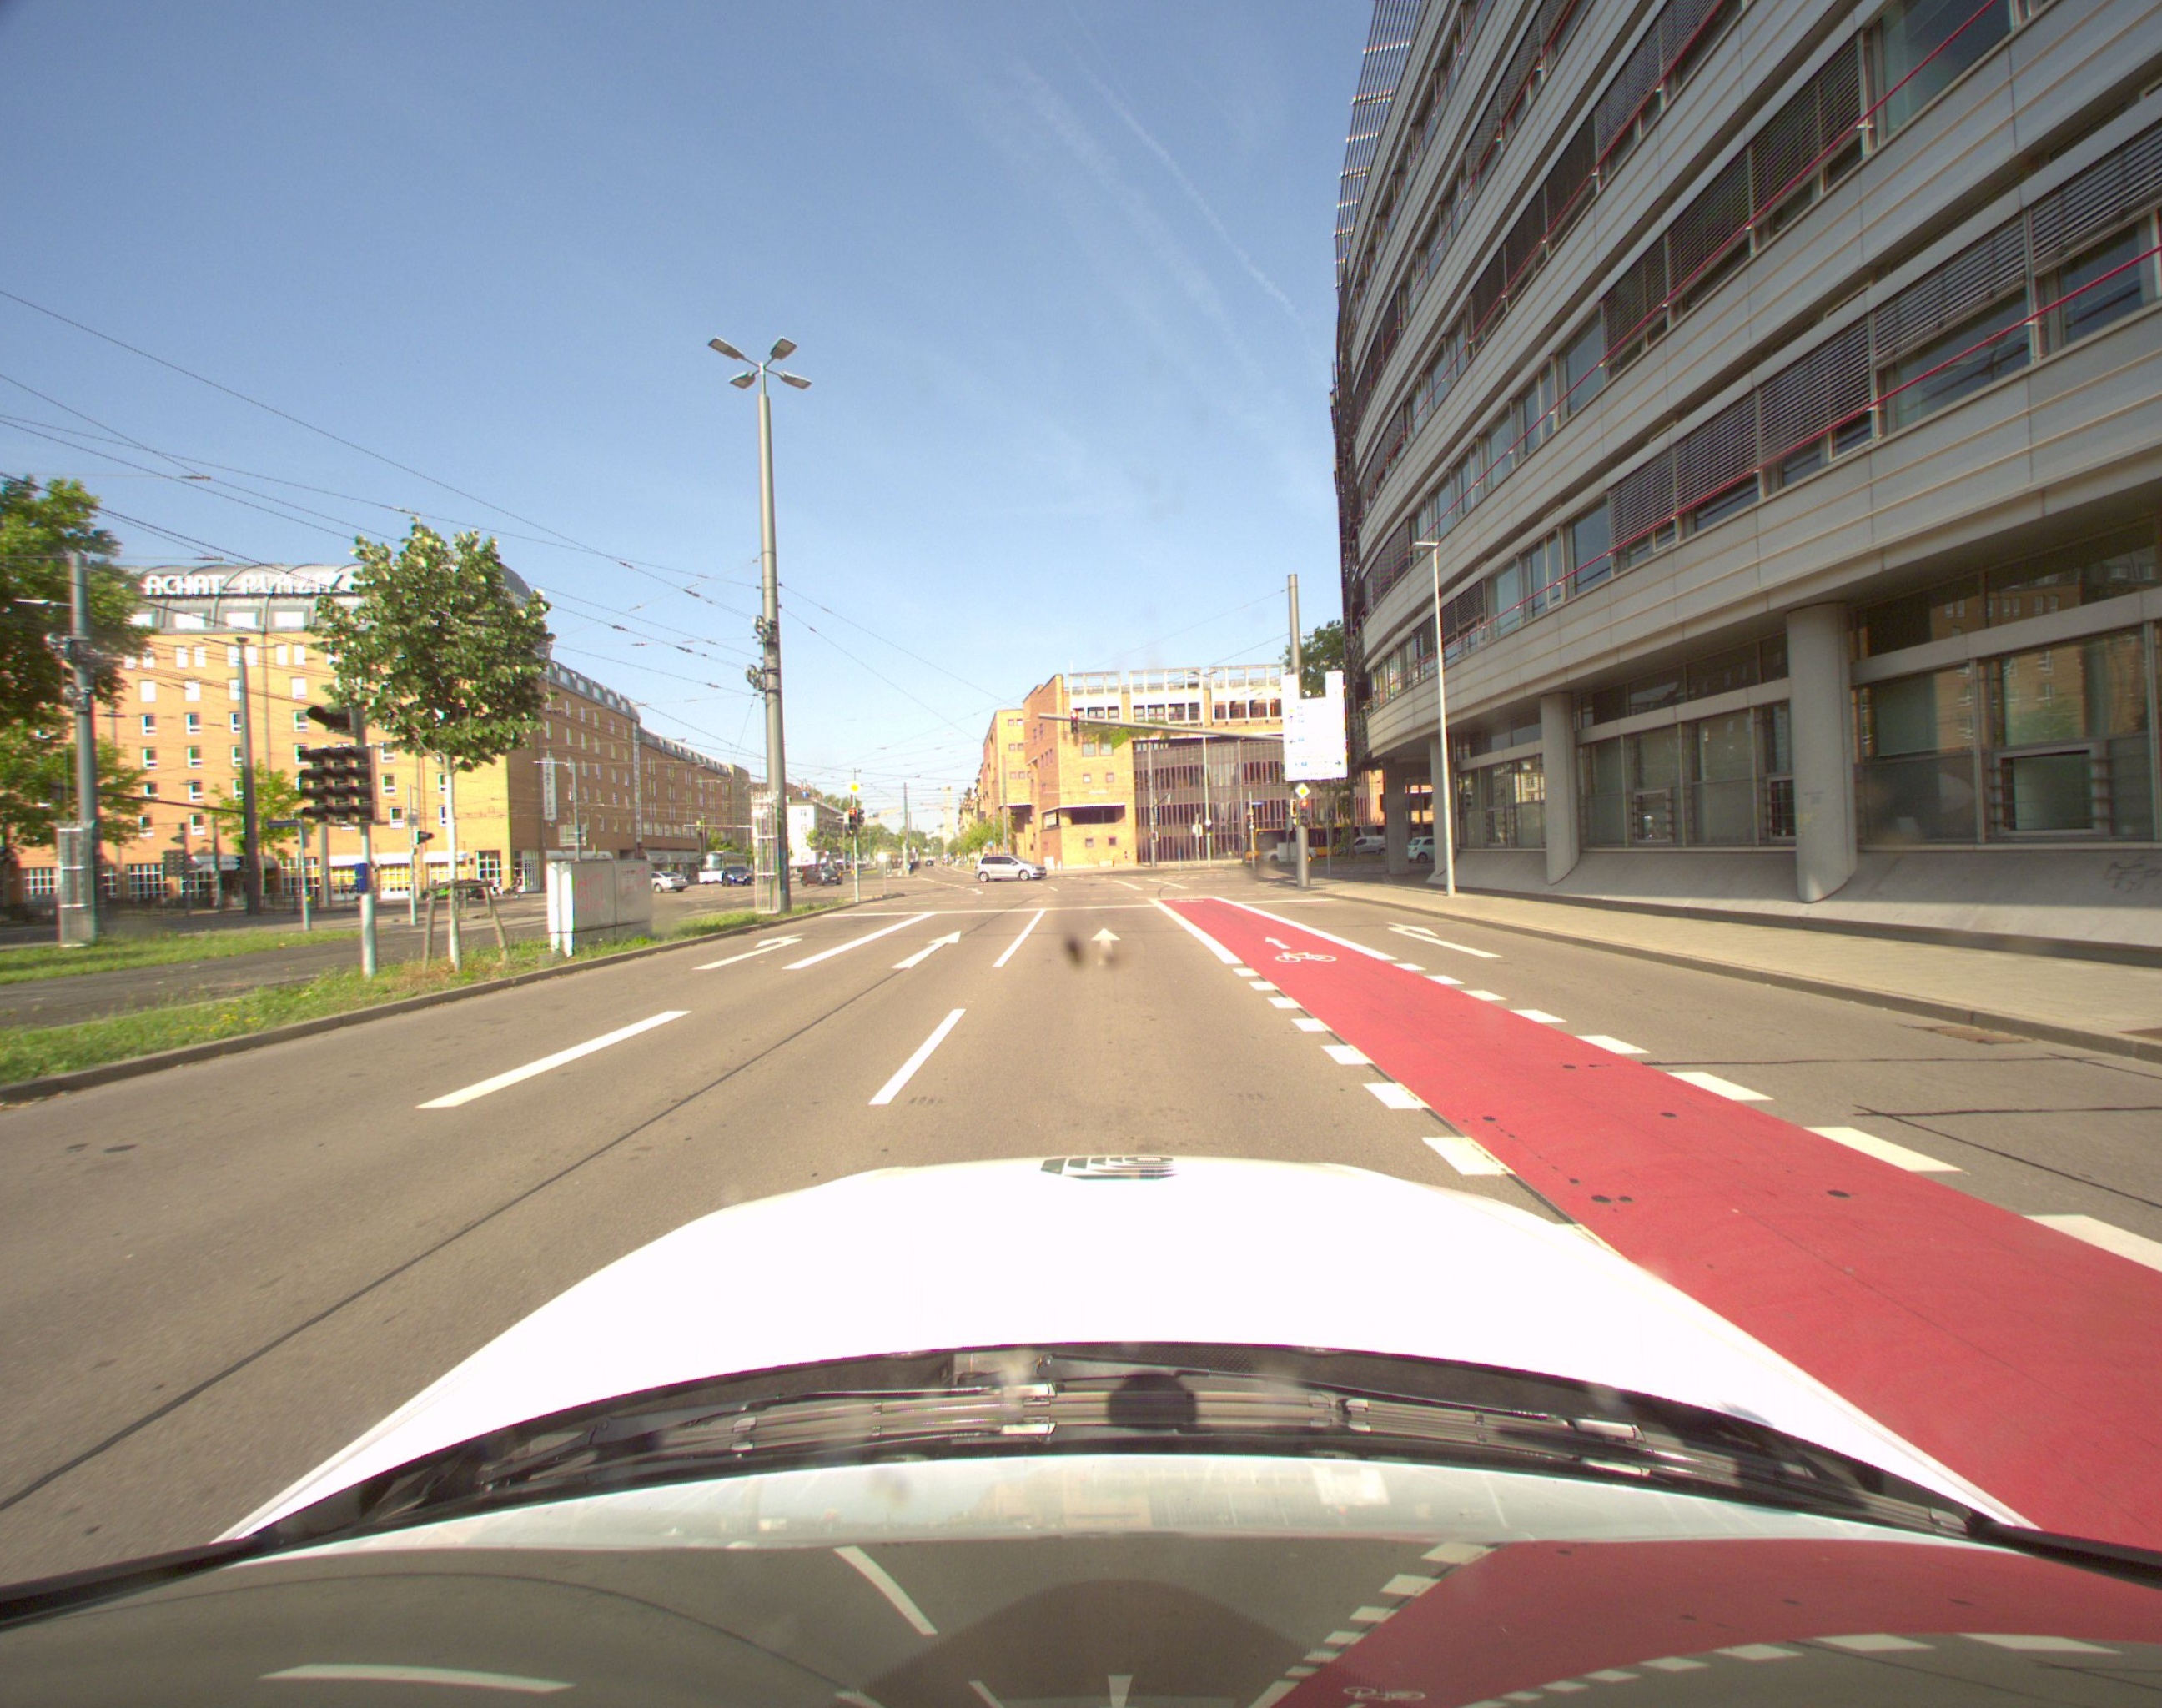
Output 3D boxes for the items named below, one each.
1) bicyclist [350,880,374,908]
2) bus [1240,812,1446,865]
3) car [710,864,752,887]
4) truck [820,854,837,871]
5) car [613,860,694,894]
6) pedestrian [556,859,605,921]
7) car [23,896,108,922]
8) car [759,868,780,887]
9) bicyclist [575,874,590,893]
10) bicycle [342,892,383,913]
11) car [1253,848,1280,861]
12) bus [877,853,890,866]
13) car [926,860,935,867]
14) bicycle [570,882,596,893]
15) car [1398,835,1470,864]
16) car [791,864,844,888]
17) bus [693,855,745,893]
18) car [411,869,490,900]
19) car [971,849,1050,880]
[{"bbox_3d":[-46.674,2.588,52.851,0.662,1.747,0.968,-2,-2,2],"label":"bicyclist"},{"bbox_3d":[22.751,-1.352,70.782,17.607,3.811,2.855,-2,-2,-10],"label":"bus"},{"bbox_3d":[-28.096,1.749,65.383,2.002,1.636,4.362,-1,-2,-38],"label":"car"},{"bbox_3d":[-42.002,1.398,135.576,1.994,2.598,4.722,-2,1,-11],"label":"truck"},{"bbox_3d":[-28.597,1.545,54.478,4.566,2.013,2.008,-2,0,15],"label":"car"},{"bbox_3d":[-16.995,1.216,27.676,1.154,2.014,0.774,-2,-2,-7],"label":"pedestrian"},{"bbox_3d":[-73.672,3.994,59.130,3.603,1.624,1.866,-2,0,-3],"label":"car"},{"bbox_3d":[-34.709,2.660,90.778,1.602,2.014,2.720,-2,-2,-10],"label":"car"},{"bbox_3d":[-45.053,2.664,73.609,0.988,1.695,0.667,-2,-2,-15],"label":"bicyclist"},{"bbox_3d":[-46.669,3.138,52.929,0.546,1.206,2.288,-2,-1,3],"label":"bicycle"},{"bbox_3d":[14.913,0.043,65.497,1.947,0.958,1.092,0,-2,-3],"label":"car"},{"bbox_3d":[-31.270,0.855,128.877,1.997,2.013,3.980,-2,0,-14],"label":"bus"},{"bbox_3d":[-36.180,2.206,195.935,2.075,1.542,4.396,-2,-1,-11],"label":"car"},{"bbox_3d":[-45.019,3.026,73.602,1.963,0.970,0.418,-2,-2,-15],"label":"bicycle"},{"bbox_3d":[20.673,-0.266,47.793,3.435,1.542,1.730,-2,-2,-9],"label":"car"},{"bbox_3d":[-18.348,1.527,56.622,3.556,1.492,1.713,-3,-2,36],"label":"car"},{"bbox_3d":[-41.195,2.347,93.033,2.748,3.921,12.166,-2,-1,-12],"label":"bus"},{"bbox_3d":[-45.465,2.203,58.815,3.985,2.014,1.994,-2,-2,-9],"label":"car"},{"bbox_3d":[-4.248,0.650,48.887,4.338,1.634,1.700,-2,2,23],"label":"car"}]
